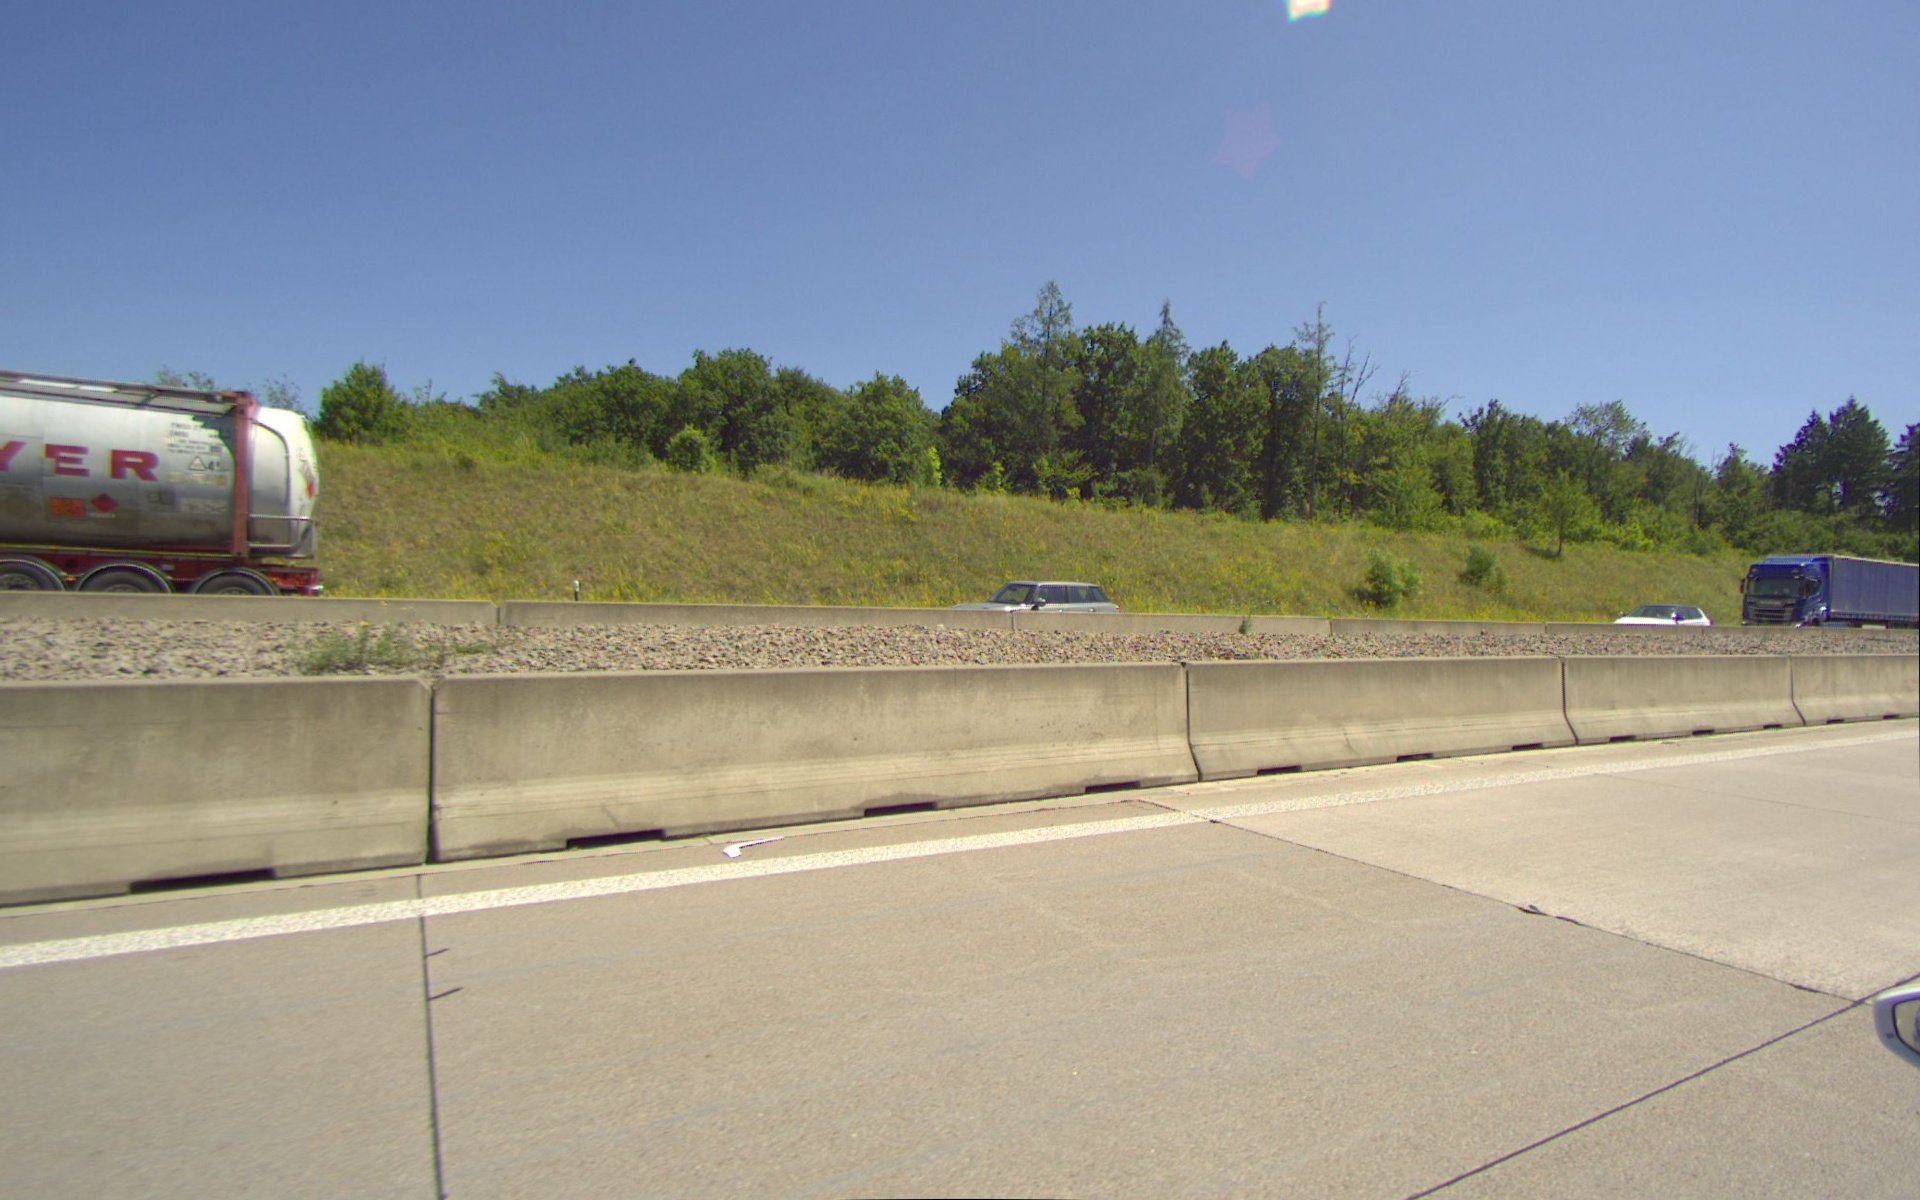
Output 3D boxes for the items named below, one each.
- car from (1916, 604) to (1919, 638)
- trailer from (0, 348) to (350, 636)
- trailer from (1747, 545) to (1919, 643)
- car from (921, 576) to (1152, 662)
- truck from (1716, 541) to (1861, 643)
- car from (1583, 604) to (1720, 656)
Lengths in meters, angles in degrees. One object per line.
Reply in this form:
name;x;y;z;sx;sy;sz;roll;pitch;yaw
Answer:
car;48.053;1.057;47.954;5.453;1.604;1.984;1;0;-30
trailer;-15.217;-1.646;15.968;9.224;4.224;2.919;2;1;-30
trailer;45.432;-0.157;51.513;13.581;4.564;3.240;2;1;-31
car;1.591;0.385;20.605;4.377;1.604;1.984;1;0;-30
truck;39.633;-0.322;48.023;6.499;4.564;3.240;2;1;-31
car;22.966;0.994;33.319;4.475;1.604;1.984;1;0;-30
